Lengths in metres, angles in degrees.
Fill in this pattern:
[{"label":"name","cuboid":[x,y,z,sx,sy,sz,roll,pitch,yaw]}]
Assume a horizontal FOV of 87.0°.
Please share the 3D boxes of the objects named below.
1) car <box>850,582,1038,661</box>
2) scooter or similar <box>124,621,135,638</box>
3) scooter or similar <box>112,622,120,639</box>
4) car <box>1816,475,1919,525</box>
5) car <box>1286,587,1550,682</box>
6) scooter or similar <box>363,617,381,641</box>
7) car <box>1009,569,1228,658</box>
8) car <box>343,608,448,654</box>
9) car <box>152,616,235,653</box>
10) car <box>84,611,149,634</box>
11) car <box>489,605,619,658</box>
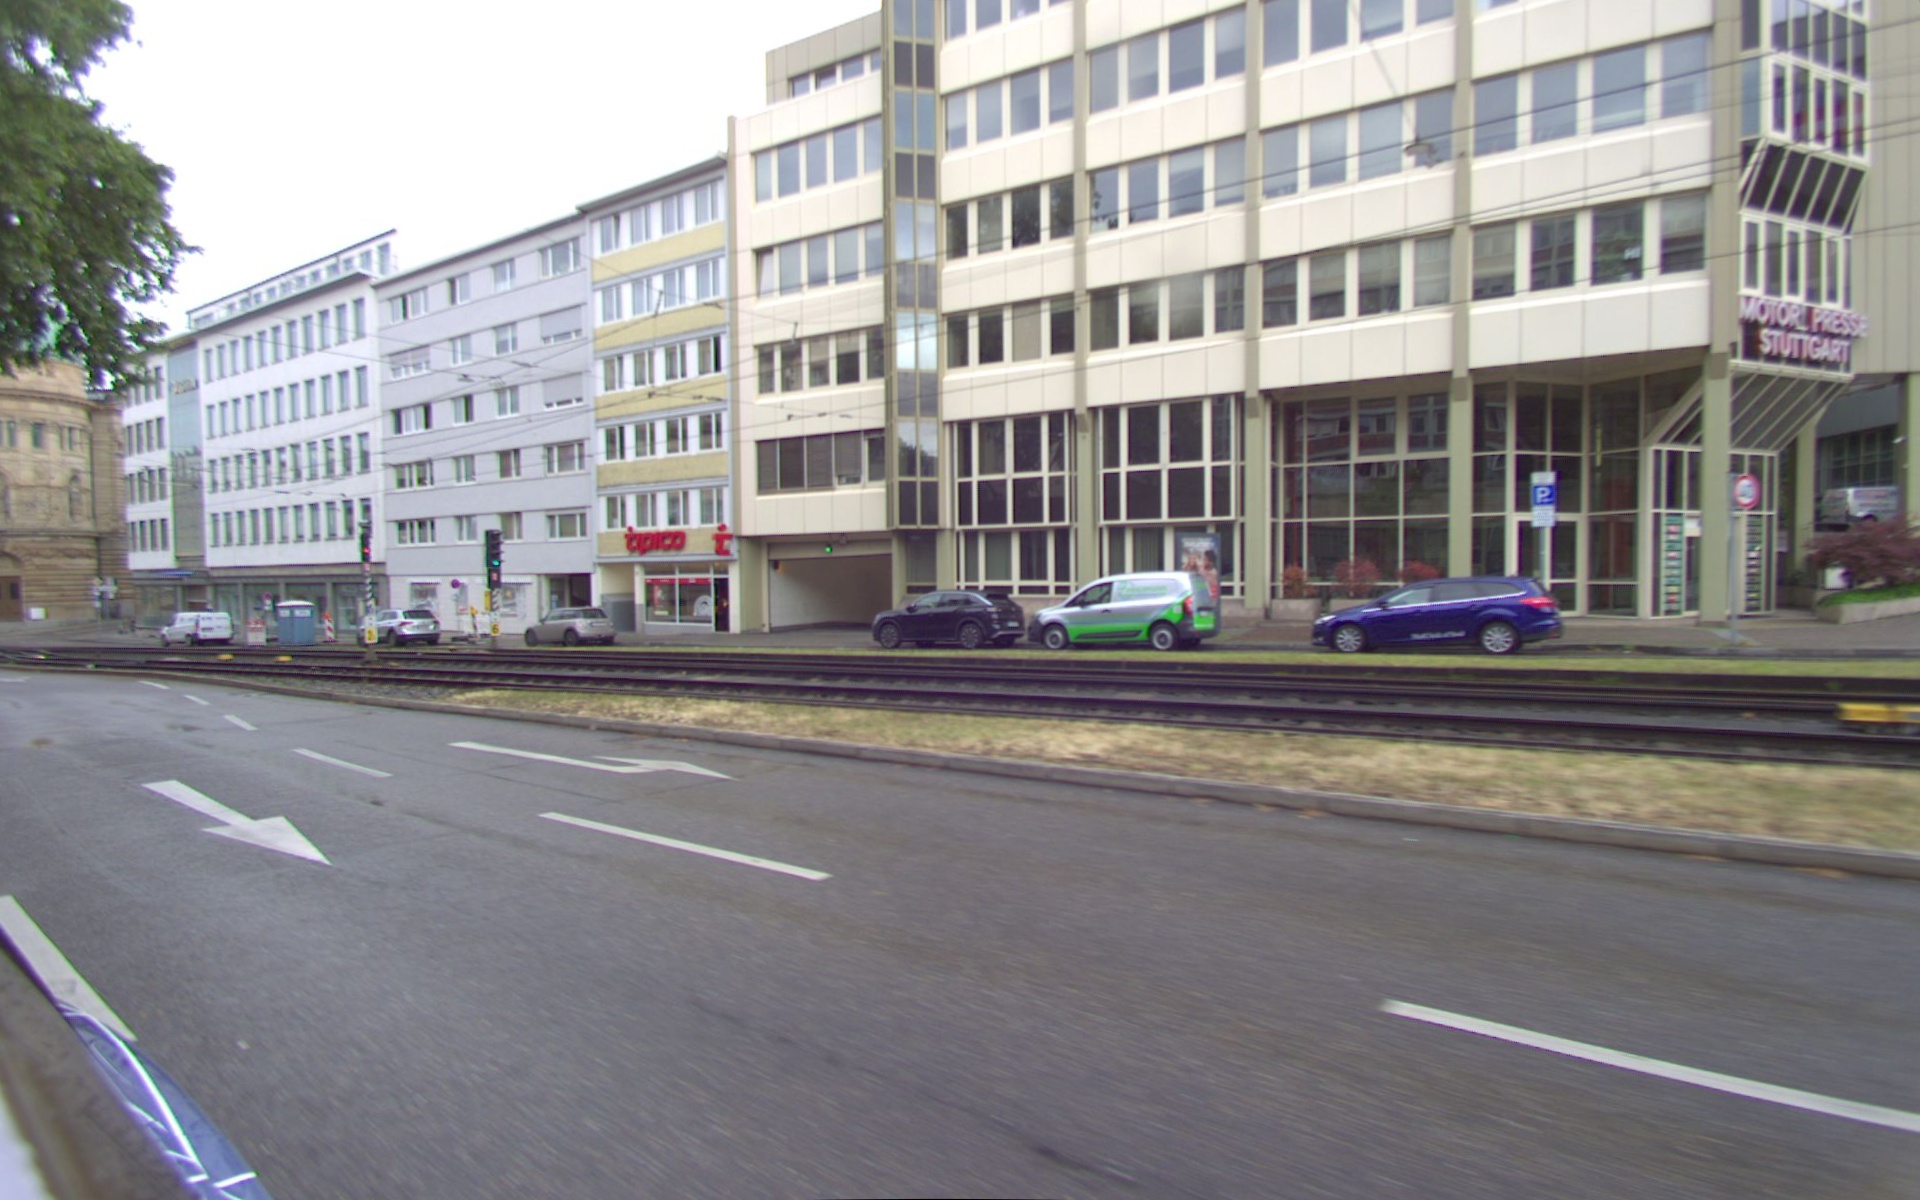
[{"label":"car","cuboid":[-0.463,0.533,26.919,4.681,1.863,1.978,0,3,33]},{"label":"scooter or similar","cuboid":[-62.439,2.224,76.092,0.404,1.209,1.564,-4,3,-33]},{"label":"scooter or similar","cuboid":[-62.998,2.249,75.555,0.404,1.209,1.563,-4,3,-39]},{"label":"car","cuboid":[41.635,-4.492,45.247,4.778,2.028,1.996,-2,3,7]},{"label":"car","cuboid":[9.039,0.623,20.071,4.535,1.593,1.978,0,3,33]},{"label":"scooter or similar","cuboid":[-29.895,1.477,51.442,0.971,1.211,0.377,0,3,34]},{"label":"car","cuboid":[3.700,0.286,23.901,4.681,1.863,1.978,0,3,33]},{"label":"car","cuboid":[-24.071,1.331,43.102,4.685,1.686,1.977,-3,2,35]},{"label":"car","cuboid":[-42.602,1.875,56.194,5.116,1.856,1.978,0,3,33]},{"label":"car","cuboid":[-67.346,1.769,80.872,1.758,1.408,4.333,-2,3,-5]},{"label":"car","cuboid":[-14.650,1.088,36.467,4.681,1.686,1.978,0,3,33]}]
